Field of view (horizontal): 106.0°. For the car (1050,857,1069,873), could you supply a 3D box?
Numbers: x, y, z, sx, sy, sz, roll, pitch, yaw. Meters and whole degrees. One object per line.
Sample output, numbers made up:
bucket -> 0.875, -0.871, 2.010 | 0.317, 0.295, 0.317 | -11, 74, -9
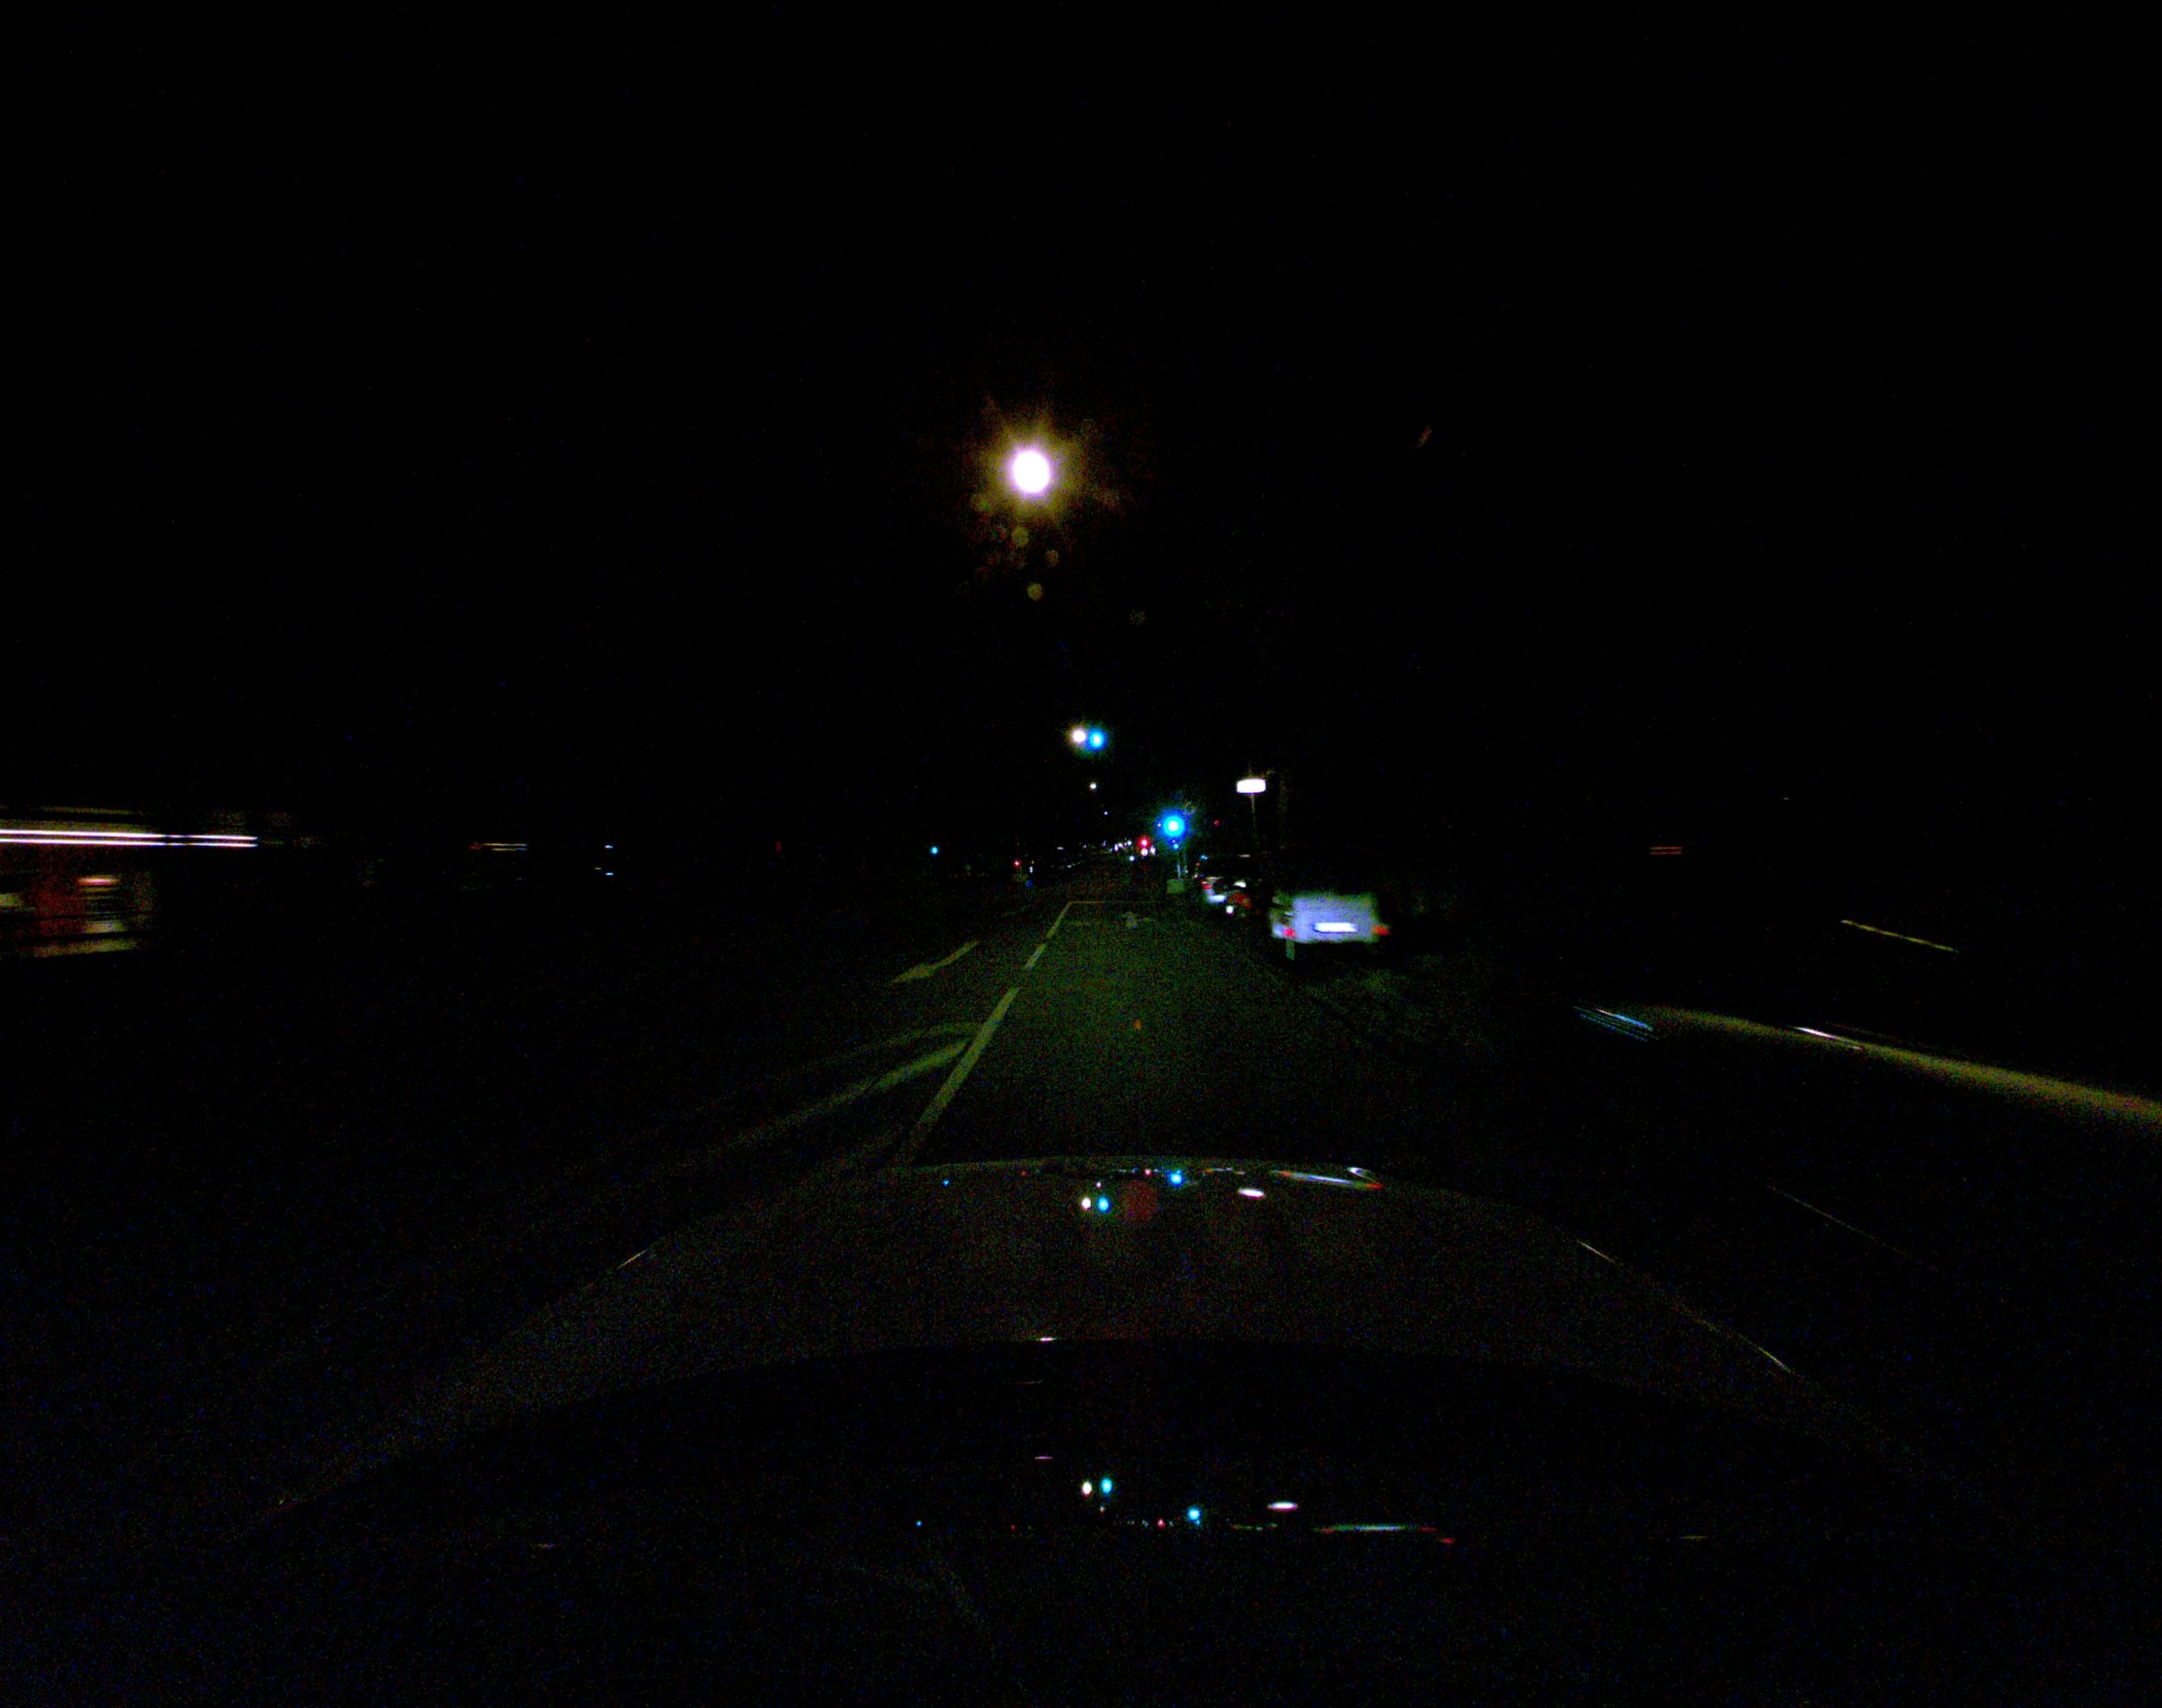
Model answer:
car -> -2.225, 1.181, 84.545 | 1.707, 1.494, 3.991 | -2, -2, 2

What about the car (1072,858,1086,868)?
car -> -0.257, 1.375, 127.335 | 1.891, 1.471, 4.455 | -1, 0, 3

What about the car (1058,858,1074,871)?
car -> -1.811, 1.259, 100.634 | 1.762, 1.486, 4.768 | -3, -1, 1

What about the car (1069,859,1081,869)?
car -> -0.842, 1.383, 114.177 | 1.617, 1.383, 4.451 | -3, -1, 0

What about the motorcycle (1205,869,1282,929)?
motorcycle -> 3.472, 0.916, 17.228 | 0.719, 1.130, 2.242 | -2, 0, 35

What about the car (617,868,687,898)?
car -> -27.056, 1.803, 51.501 | 1.984, 1.640, 4.005 | -3, -1, 4

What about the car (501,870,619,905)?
car -> -24.600, 1.611, 38.571 | 4.359, 1.393, 1.832 | -2, -5, 1

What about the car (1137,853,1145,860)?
car -> 13.617, 0.537, 185.084 | 1.644, 1.431, 4.005 | -3, 0, 4

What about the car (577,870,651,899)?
car -> -29.676, 1.905, 51.893 | 1.984, 1.640, 4.190 | -3, -1, 4

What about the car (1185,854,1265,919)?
car -> 3.545, 0.750, 20.554 | 1.579, 1.461, 3.801 | -2, 0, 4

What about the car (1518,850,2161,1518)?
car -> 3.225, 0.716, 2.253 | 1.769, 1.359, 4.426 | -3, 0, 3

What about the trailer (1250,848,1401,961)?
trailer -> 3.682, 0.686, 12.879 | 1.592, 1.495, 3.740 | -1, 0, 6
